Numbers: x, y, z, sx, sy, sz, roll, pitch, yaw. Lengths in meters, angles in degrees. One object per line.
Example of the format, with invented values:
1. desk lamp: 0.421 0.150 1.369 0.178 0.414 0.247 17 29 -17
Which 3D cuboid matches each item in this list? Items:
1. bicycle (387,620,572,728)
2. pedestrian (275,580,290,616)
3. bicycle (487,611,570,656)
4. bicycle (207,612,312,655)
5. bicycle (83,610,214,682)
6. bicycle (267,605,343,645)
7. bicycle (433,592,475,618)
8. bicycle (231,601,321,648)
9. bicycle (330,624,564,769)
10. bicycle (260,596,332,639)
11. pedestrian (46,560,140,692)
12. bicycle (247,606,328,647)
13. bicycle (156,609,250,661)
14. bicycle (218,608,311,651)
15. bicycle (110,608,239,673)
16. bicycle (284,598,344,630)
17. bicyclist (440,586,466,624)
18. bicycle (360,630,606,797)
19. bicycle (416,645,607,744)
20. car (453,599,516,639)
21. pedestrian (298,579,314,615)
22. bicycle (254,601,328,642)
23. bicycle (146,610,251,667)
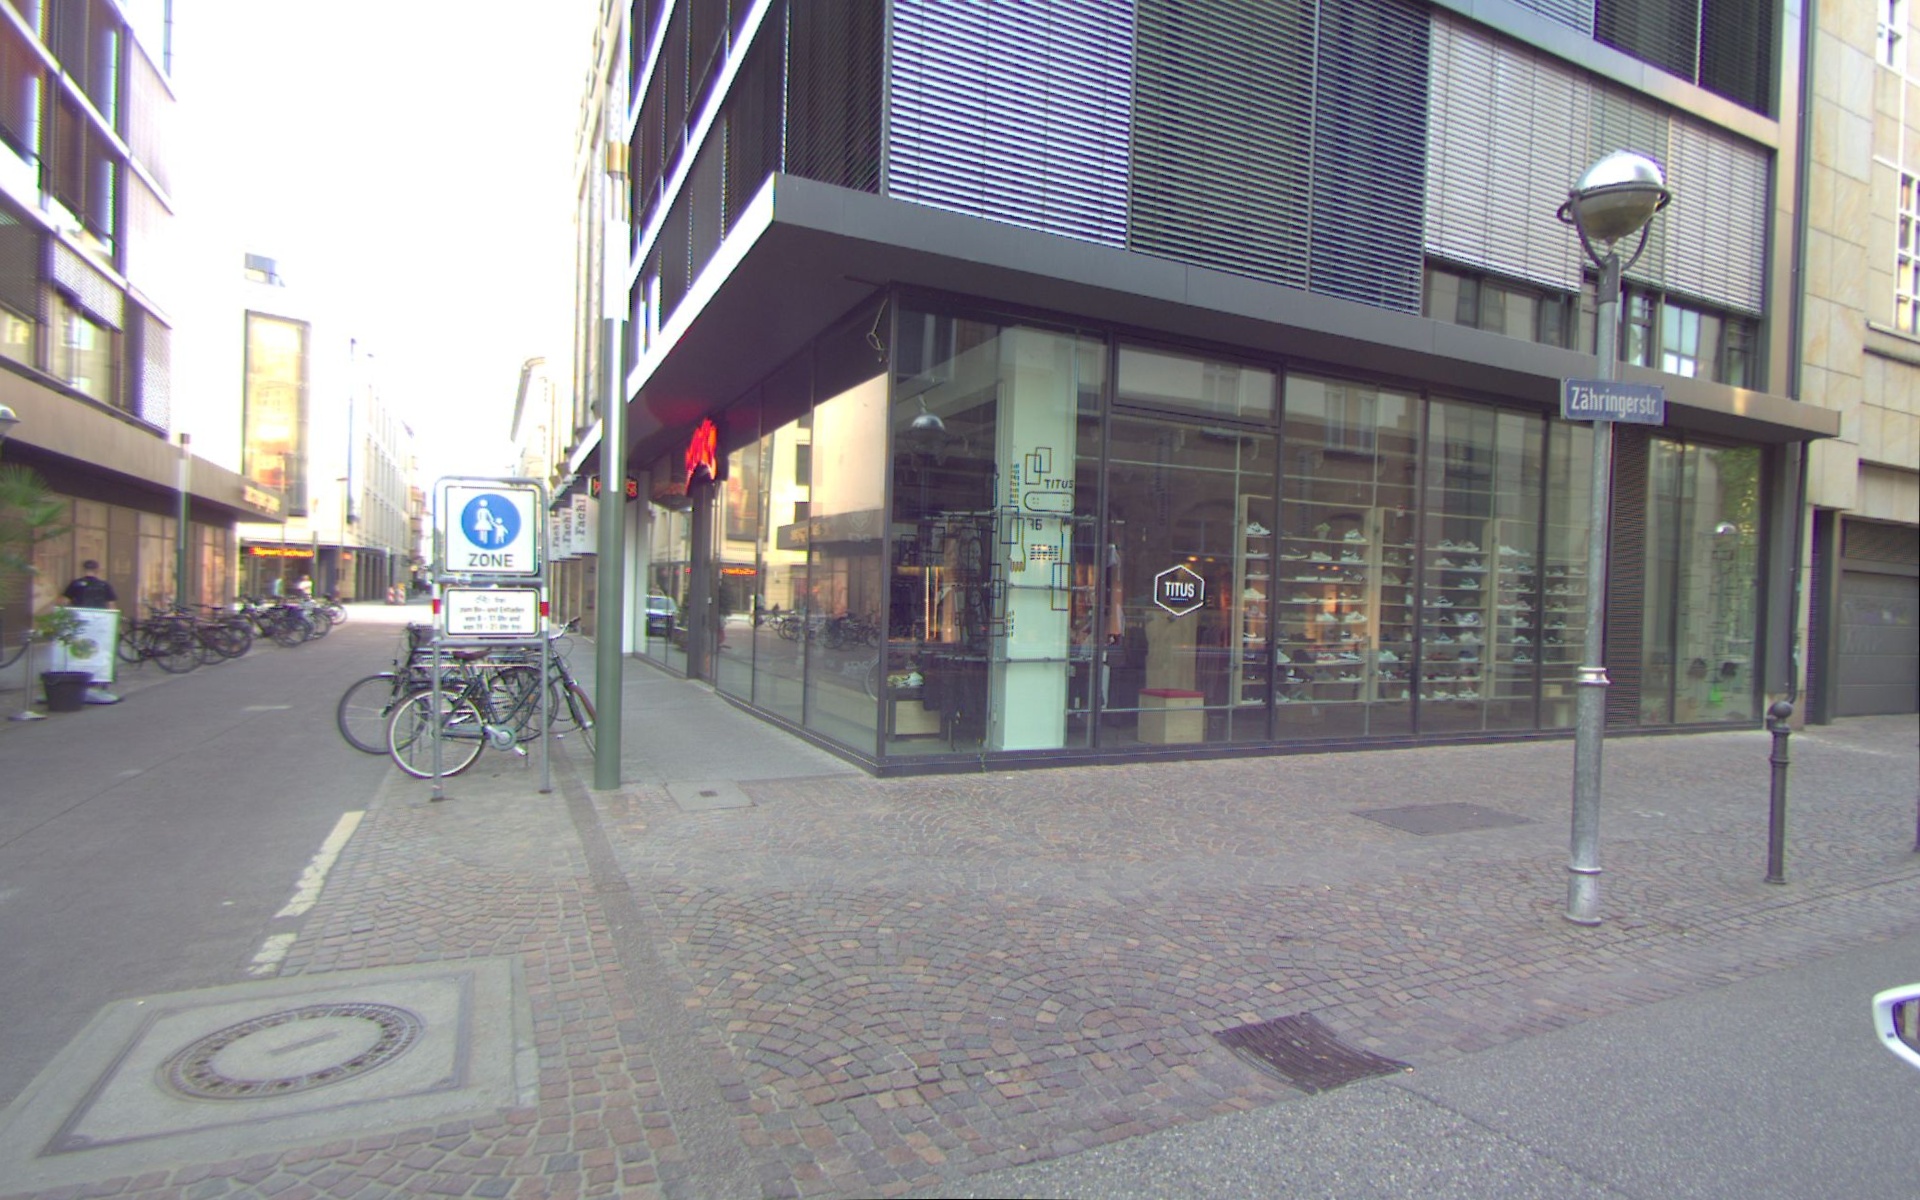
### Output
1. bicycle: -5.526 0.821 11.623 1.887 1.160 0.553 0 1 -28
2. pedestrian: -30.369 -0.094 45.023 0.475 1.573 0.429 1 0 -42
3. bicycle: -10.068 0.768 23.471 1.771 1.028 0.365 0 1 -28
4. bicycle: -16.230 0.786 23.324 1.920 0.969 0.462 1 0 -28
5. bicycle: -12.909 0.720 16.019 1.523 1.099 0.545 1 0 -28
6. bicycle: -18.250 0.705 28.028 1.711 1.065 0.462 1 0 -28
7. bicycle: -19.900 0.190 39.534 0.572 1.028 1.795 1 0 8
8. bicycle: -17.459 0.632 25.685 1.825 1.151 0.462 1 0 -28
9. bicycle: -4.578 0.825 9.074 1.818 1.165 0.605 0 1 -28
10. bicycle: -19.667 0.525 29.770 1.711 1.245 0.462 1 0 -28
11. pedestrian: -12.379 0.358 14.339 0.951 1.809 0.739 1 0 31
12. bicycle: -17.966 0.714 26.869 1.754 1.065 0.462 1 0 -28
13. bicycle: -15.369 0.707 20.430 1.437 1.019 0.462 1 0 -28
14. bicycle: -16.839 0.717 24.368 1.772 1.021 0.527 1 0 -28
15. bicycle: -13.868 0.709 17.779 1.706 1.106 0.545 1 0 -28
16. bicycle: -22.532 0.488 35.064 1.711 1.076 0.434 1 0 -28
17. bicyclist: -19.920 0.192 39.467 0.563 1.467 0.737 1 1 9
18. bicycle: -3.673 0.828 7.824 1.652 1.128 0.704 0 1 -27
19. bicycle: -4.634 0.952 10.438 1.770 0.907 0.451 0 1 -28
20. car: -15.795 0.615 33.517 1.605 1.238 3.469 1 0 -21
21. pedestrian: -29.818 -0.133 45.787 0.372 1.594 0.478 1 0 13
22. bicycle: -19.242 0.628 28.930 1.711 1.161 0.462 1 0 -28
23. bicycle: -14.645 0.741 19.361 1.536 1.051 0.462 1 0 -28
